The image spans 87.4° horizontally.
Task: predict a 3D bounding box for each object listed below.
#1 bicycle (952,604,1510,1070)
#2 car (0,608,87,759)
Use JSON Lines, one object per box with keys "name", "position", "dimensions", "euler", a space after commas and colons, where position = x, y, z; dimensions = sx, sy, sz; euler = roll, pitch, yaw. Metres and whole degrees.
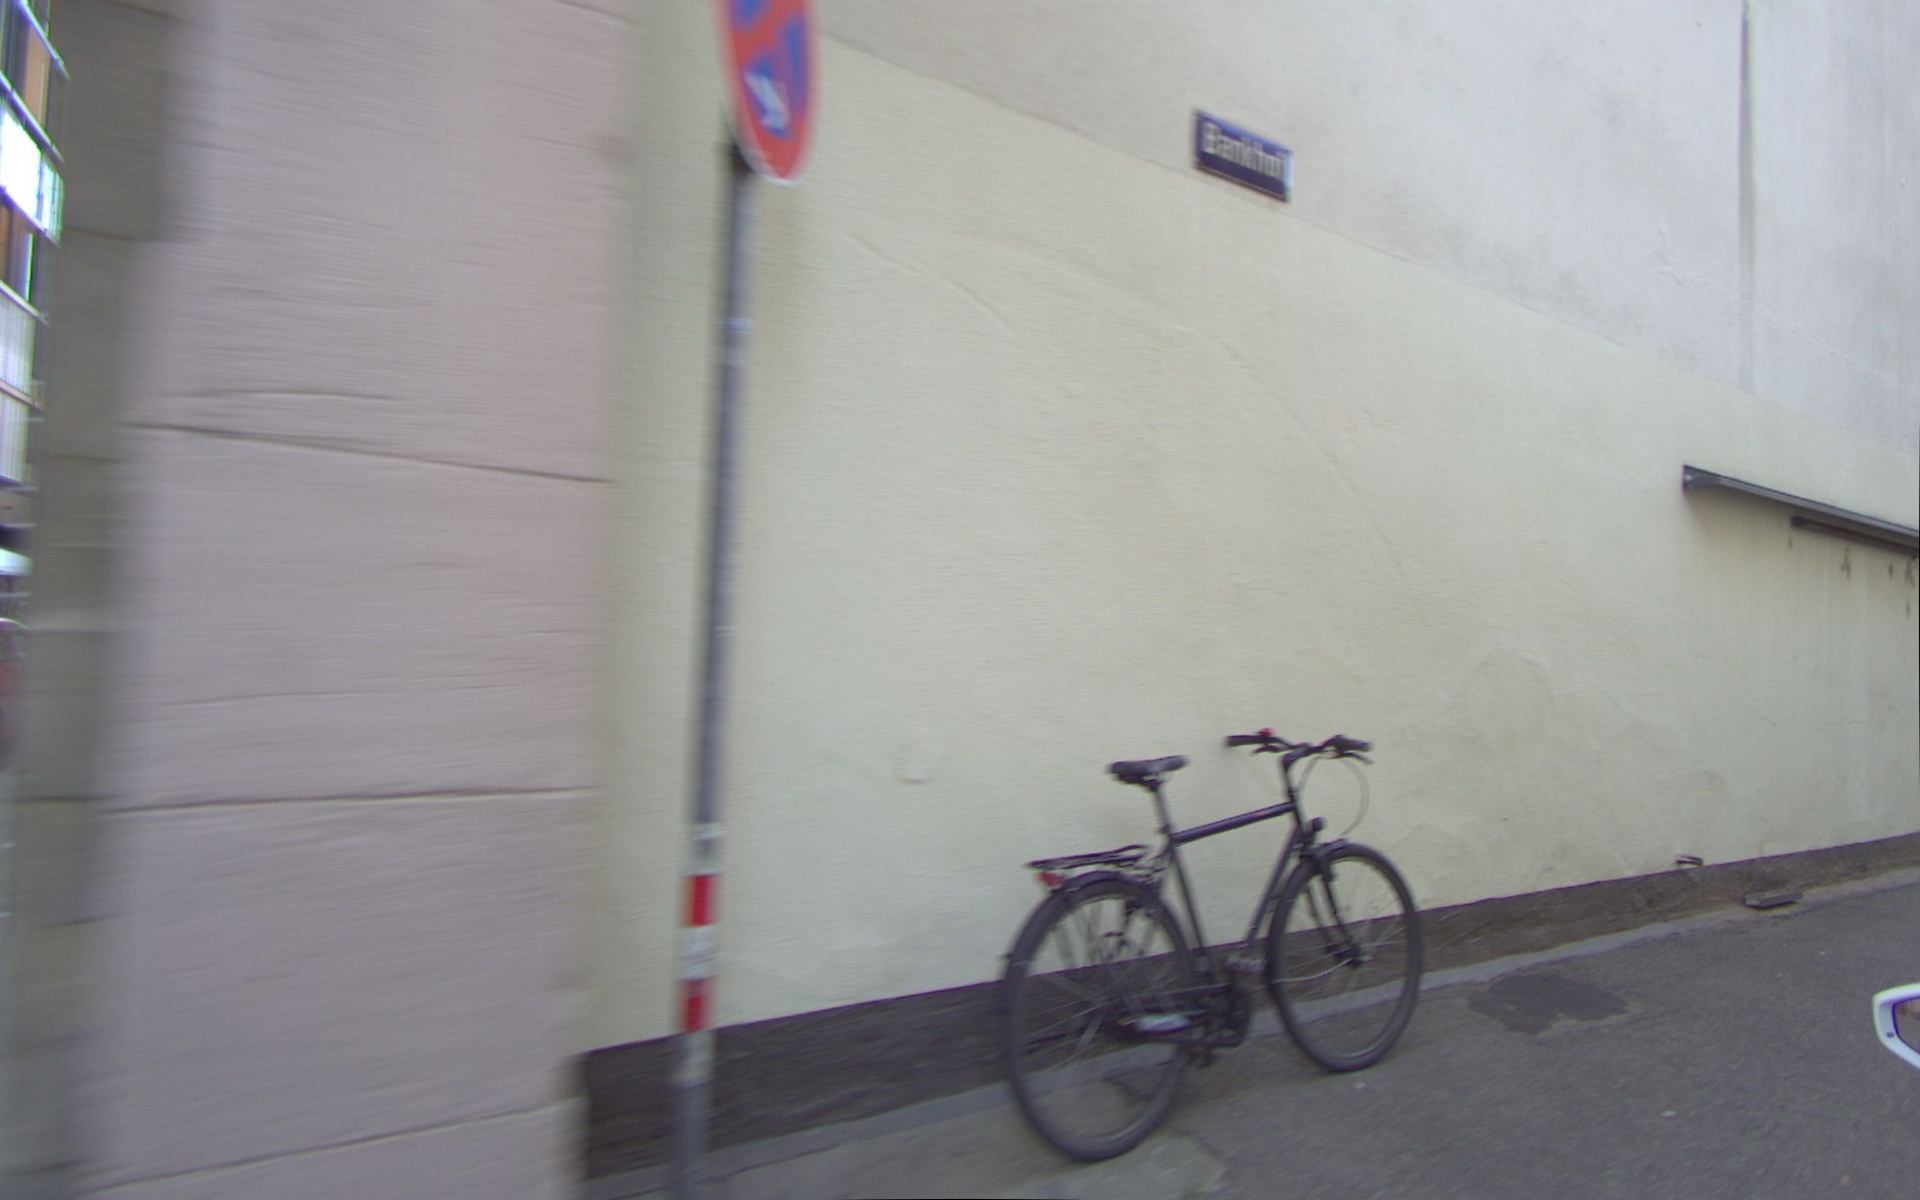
{"name": "bicycle", "position": [0.886, 0.599, 3.076], "dimensions": [1.736, 1.093, 0.592], "euler": [3, -1, -31]}
{"name": "car", "position": [-10.819, 0.807, 10.643], "dimensions": [1.620, 1.459, 3.132], "euler": [6, -4, -29]}
